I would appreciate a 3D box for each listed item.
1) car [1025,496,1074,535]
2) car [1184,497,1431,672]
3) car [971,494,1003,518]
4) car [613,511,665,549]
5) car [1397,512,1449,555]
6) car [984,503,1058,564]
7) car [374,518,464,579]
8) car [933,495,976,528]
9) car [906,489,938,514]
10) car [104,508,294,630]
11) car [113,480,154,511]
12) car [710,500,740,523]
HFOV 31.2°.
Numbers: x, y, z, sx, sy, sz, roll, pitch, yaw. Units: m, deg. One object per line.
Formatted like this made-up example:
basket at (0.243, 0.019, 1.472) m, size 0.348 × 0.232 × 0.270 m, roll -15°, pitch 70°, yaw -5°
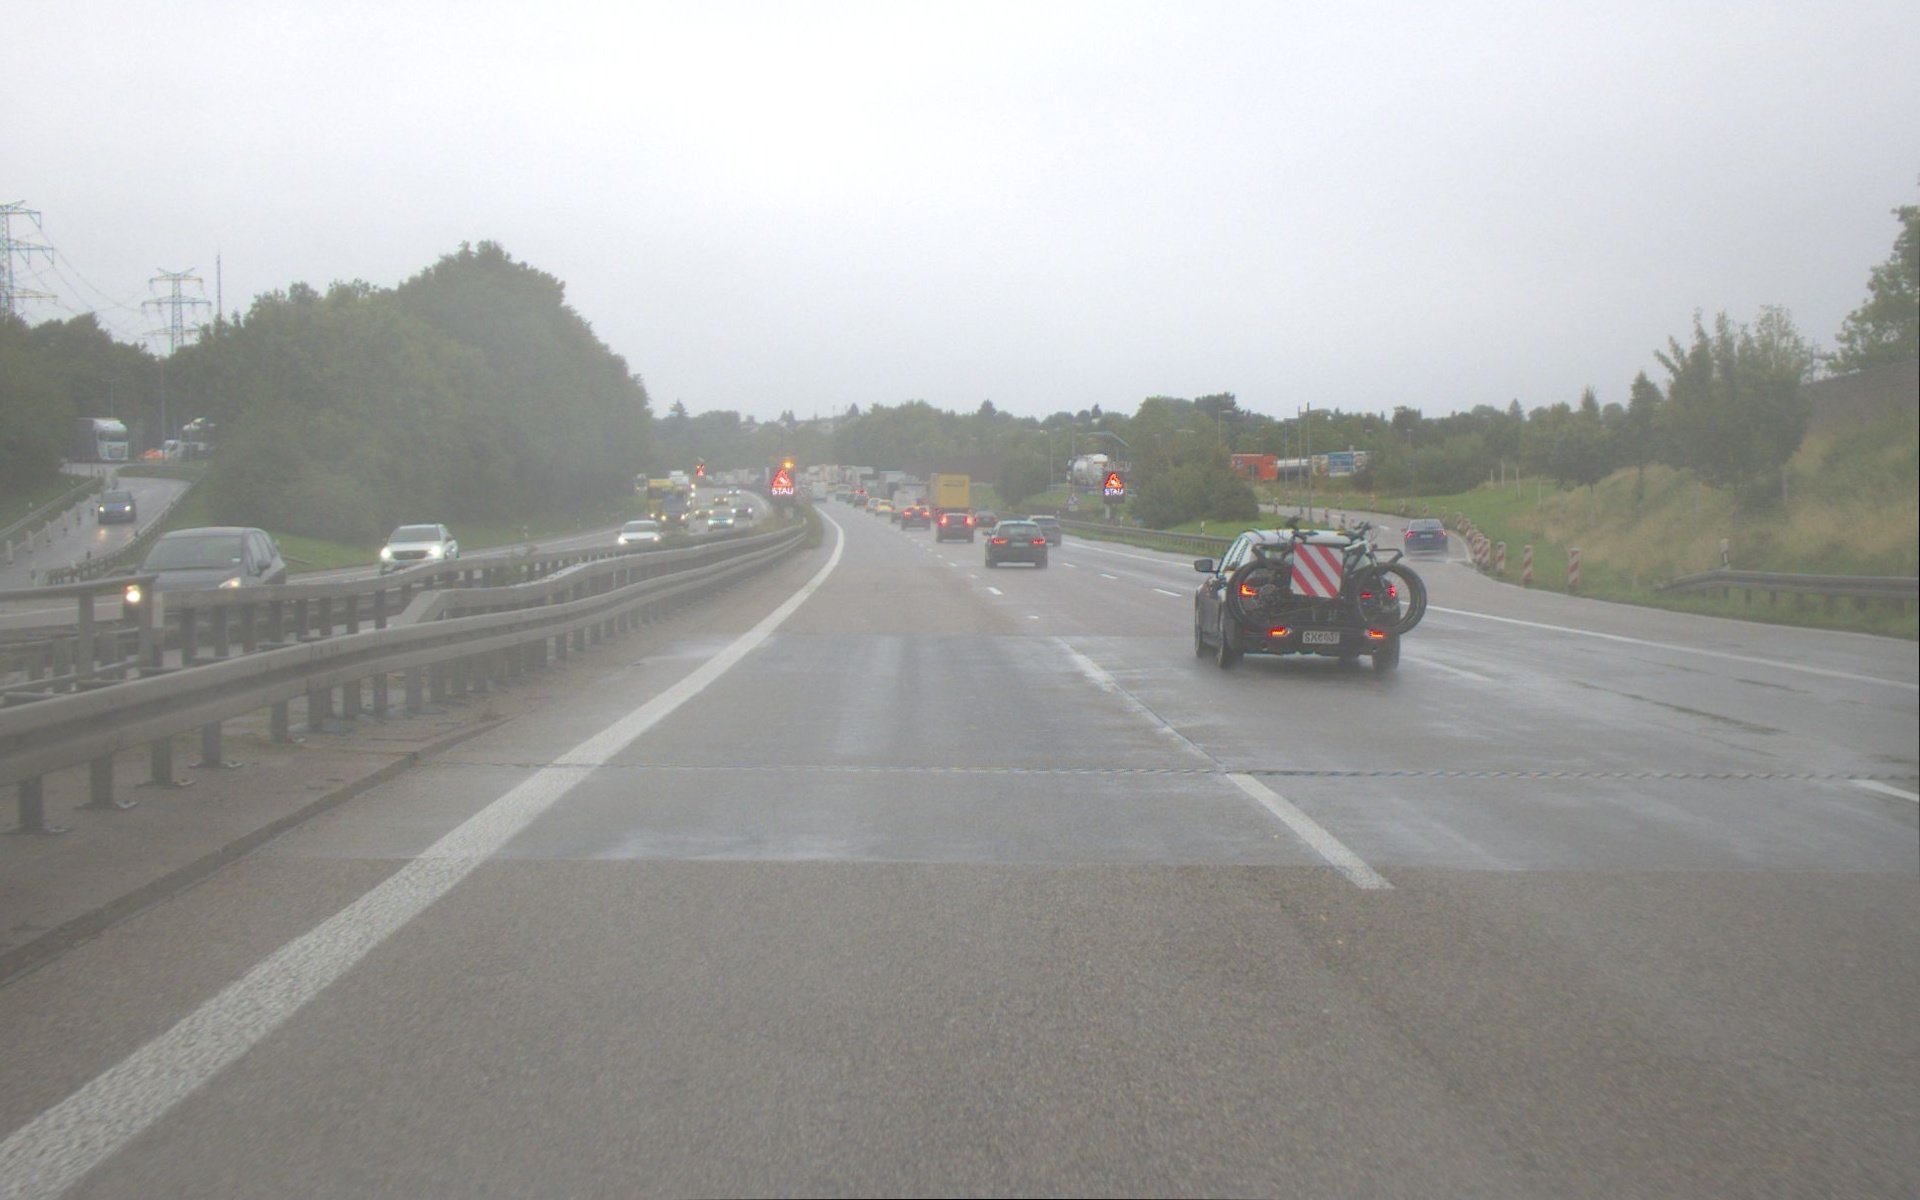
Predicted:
car at (4.241, -4.028, 163.227) m, size 1.993 × 1.755 × 4.001 m, roll 2°, pitch 2°, yaw -3°
car at (3.555, -0.199, 36.166) m, size 2.058 × 1.665 × 5.522 m, roll 1°, pitch 1°, yaw 0°
car at (1.853, -6.566, 239.252) m, size 1.993 × 1.623 × 4.001 m, roll -1°, pitch 2°, yaw -2°
car at (-13.213, -2.908, 141.662) m, size 1.757 × 1.456 × 4.762 m, roll -2°, pitch 2°, yaw -1°
car at (19.260, -2.777, 143.125) m, size 1.922 × 1.703 × 4.000 m, roll -1°, pitch 2°, yaw 4°
car at (1.847, -2.049, 104.733) m, size 1.993 × 1.755 × 4.001 m, roll -1°, pitch 2°, yaw -2°
car at (-15.531, -1.502, 98.845) m, size 1.904 × 1.659 × 4.714 m, roll -1°, pitch 2°, yaw -1°
car at (-0.306, -4.476, 173.539) m, size 1.993 × 1.623 × 4.001 m, roll -1°, pitch 2°, yaw -2°
car at (-2.593, -6.663, 231.851) m, size 1.993 × 1.623 × 4.001 m, roll -1°, pitch 2°, yaw -2°
car at (-10.553, -0.464, 47.899) m, size 1.828 × 1.588 × 3.816 m, roll -1°, pitch 2°, yaw -1°
car at (-42.515, -5.365, 176.824) m, size 1.967 × 1.537 × 4.001 m, roll -1°, pitch 2°, yaw -13°
car at (-16.189, -6.120, 236.733) m, size 1.822 × 1.507 × 4.791 m, roll -1°, pitch 2°, yaw -1°
